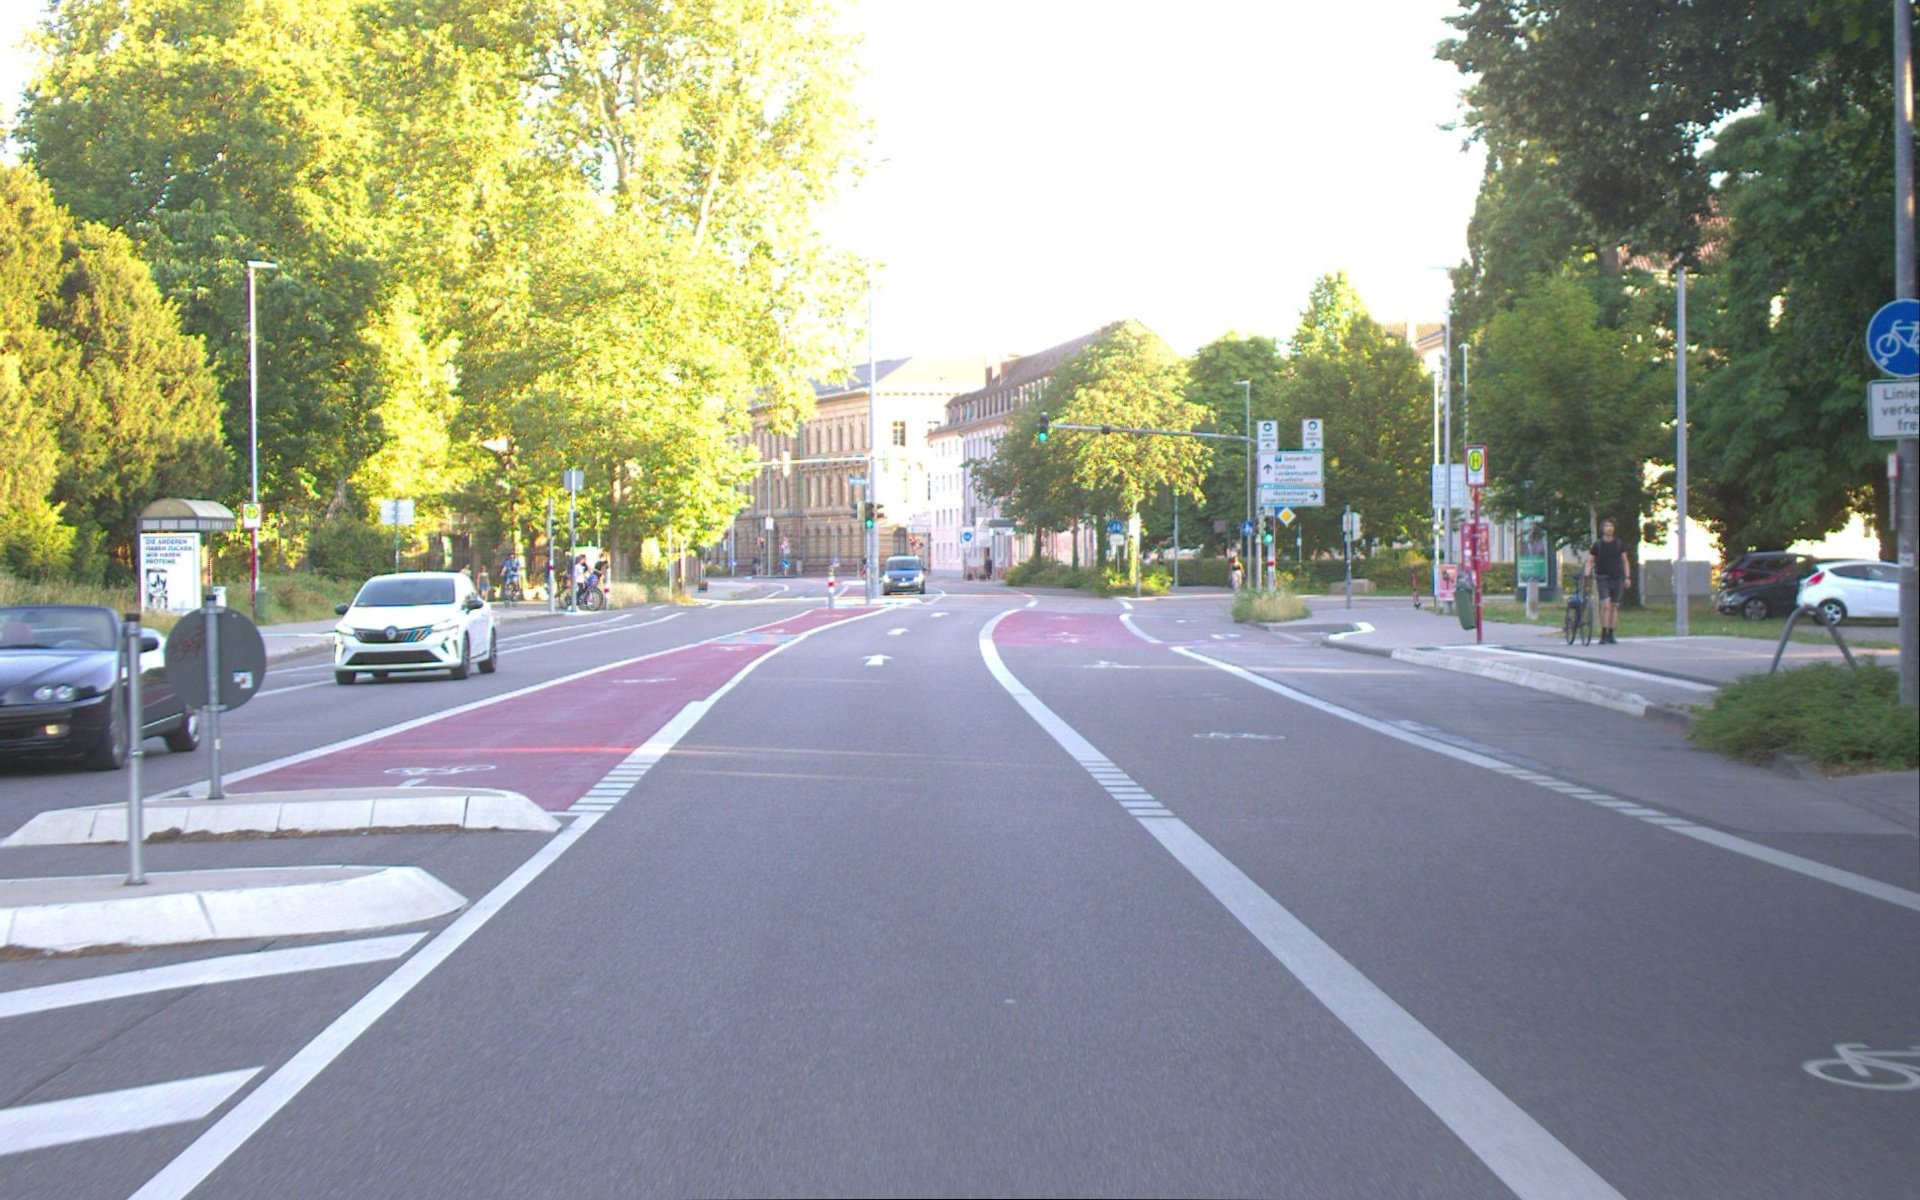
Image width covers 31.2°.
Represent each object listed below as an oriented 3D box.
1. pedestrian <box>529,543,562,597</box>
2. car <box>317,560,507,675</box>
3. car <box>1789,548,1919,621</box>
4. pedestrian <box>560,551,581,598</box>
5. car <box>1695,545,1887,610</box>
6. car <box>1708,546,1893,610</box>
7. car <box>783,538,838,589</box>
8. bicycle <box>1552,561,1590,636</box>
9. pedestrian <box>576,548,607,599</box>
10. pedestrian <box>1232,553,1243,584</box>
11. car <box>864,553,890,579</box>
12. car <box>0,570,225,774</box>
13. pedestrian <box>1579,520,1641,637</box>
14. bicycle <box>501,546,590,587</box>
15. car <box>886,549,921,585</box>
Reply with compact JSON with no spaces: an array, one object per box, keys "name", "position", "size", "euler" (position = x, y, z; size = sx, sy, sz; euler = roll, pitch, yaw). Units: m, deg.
[{"name":"pedestrian","position":[-12.228,-0.885,101.405],"size":[0.791,1.575,0.745],"euler":[1,1,8]},{"name":"car","position":[-7.305,0.200,46.223],"size":[1.798,1.448,4.127],"euler":[0,1,1]},{"name":"car","position":[20.381,-0.355,76.085],"size":[3.774,1.585,1.715],"euler":[0,1,7]},{"name":"pedestrian","position":[-12.011,-0.778,106.009],"size":[0.579,1.425,0.560],"euler":[1,1,-9]},{"name":"car","position":[20.642,-0.569,85.540],"size":[4.460,1.585,1.715],"euler":[0,1,7]},{"name":"car","position":[21.680,-0.573,88.835],"size":[4.460,1.585,1.715],"euler":[0,1,7]},{"name":"car","position":[-4.436,-1.088,102.282],"size":[1.493,1.481,3.491],"euler":[-1,1,0]},{"name":"bicycle","position":[9.156,-0.034,51.537],"size":[0.299,1.096,1.521],"euler":[0,1,1]},{"name":"pedestrian","position":[-11.608,-0.832,108.368],"size":[0.791,1.575,0.745],"euler":[1,1,8]},{"name":"pedestrian","position":[10.965,-1.235,136.053],"size":[0.390,1.234,0.404],"euler":[0,1,0]},{"name":"car","position":[-4.897,-2.025,203.064],"size":[1.493,1.481,3.491],"euler":[0,1,0]},{"name":"car","position":[-7.174,0.511,27.070],"size":[1.798,1.448,4.127],"euler":[0,1,1]},{"name":"pedestrian","position":[9.720,-0.321,51.433],"size":[0.769,1.734,0.731],"euler":[0,1,0]},{"name":"bicycle","position":[-12.222,-0.980,101.378],"size":[2.463,1.191,0.757],"euler":[0,1,9]},{"name":"car","position":[-2.409,-1.426,147.269],"size":[1.493,1.481,3.491],"euler":[0,1,0]}]
